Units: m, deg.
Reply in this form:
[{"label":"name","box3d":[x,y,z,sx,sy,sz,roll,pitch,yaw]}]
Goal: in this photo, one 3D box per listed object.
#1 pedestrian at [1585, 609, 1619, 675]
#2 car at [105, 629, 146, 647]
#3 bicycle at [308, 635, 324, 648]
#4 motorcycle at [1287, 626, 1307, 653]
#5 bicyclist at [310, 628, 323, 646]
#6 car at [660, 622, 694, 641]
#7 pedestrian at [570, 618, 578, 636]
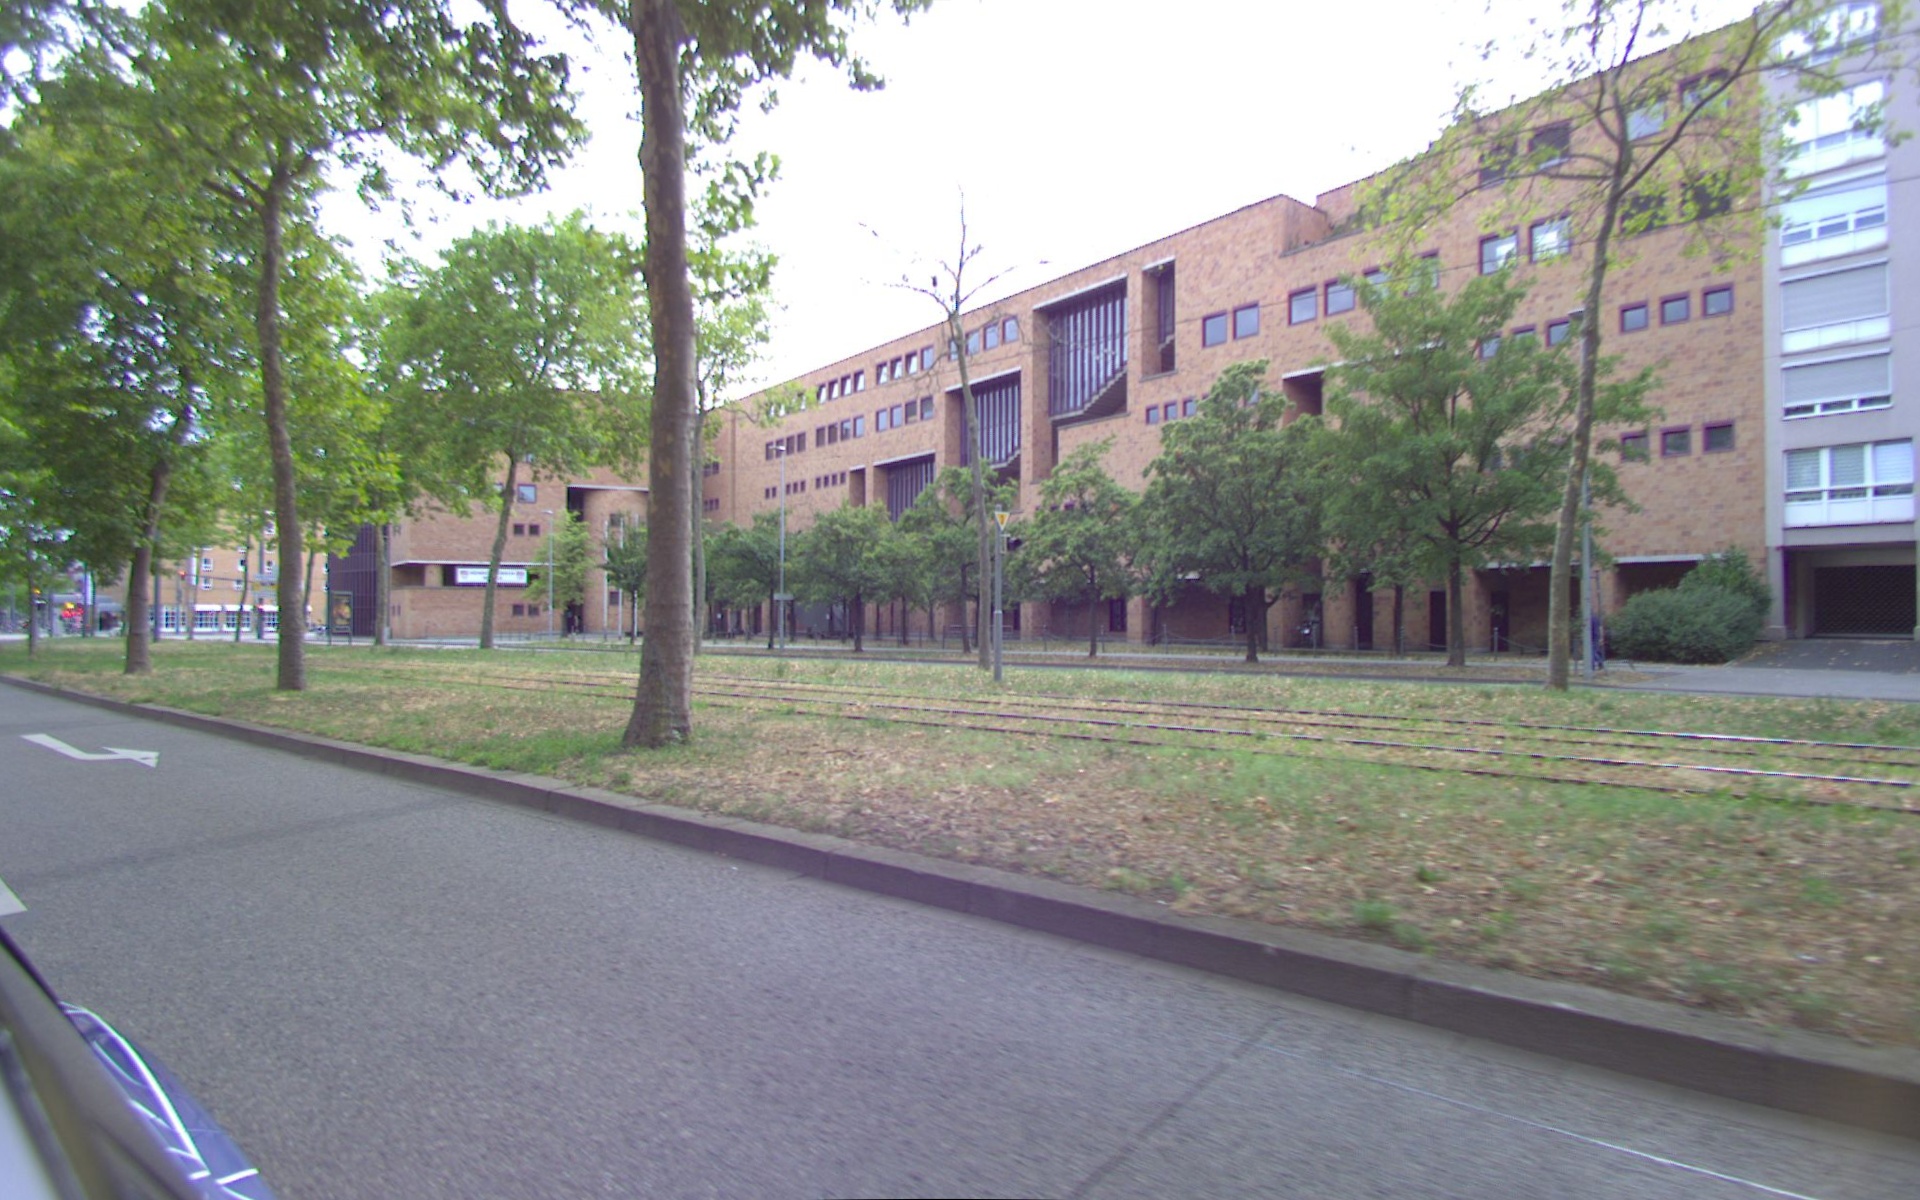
[{"label":"pedestrian","box3d":[16.914,1.094,26.650,0.626,1.718,0.546,-2,-3,45]},{"label":"car","box3d":[-70.849,3.217,85.918,4.653,1.432,1.766,-2,-3,39]},{"label":"bicycle","box3d":[-56.375,3.610,88.612,2.093,1.092,0.660,-2,-3,43]},{"label":"motorcycle","box3d":[15.513,1.798,46.564,0.790,1.200,2.185,-1,-2,17]},{"label":"bicyclist","box3d":[-56.329,3.215,88.578,0.984,1.603,0.657,-2,-3,43]},{"label":"car","box3d":[-27.708,3.070,99.047,1.868,1.821,4.008,1,-2,-38]},{"label":"pedestrian","box3d":[-32.078,2.262,84.184,0.500,1.543,0.521,1,-2,-35]}]
